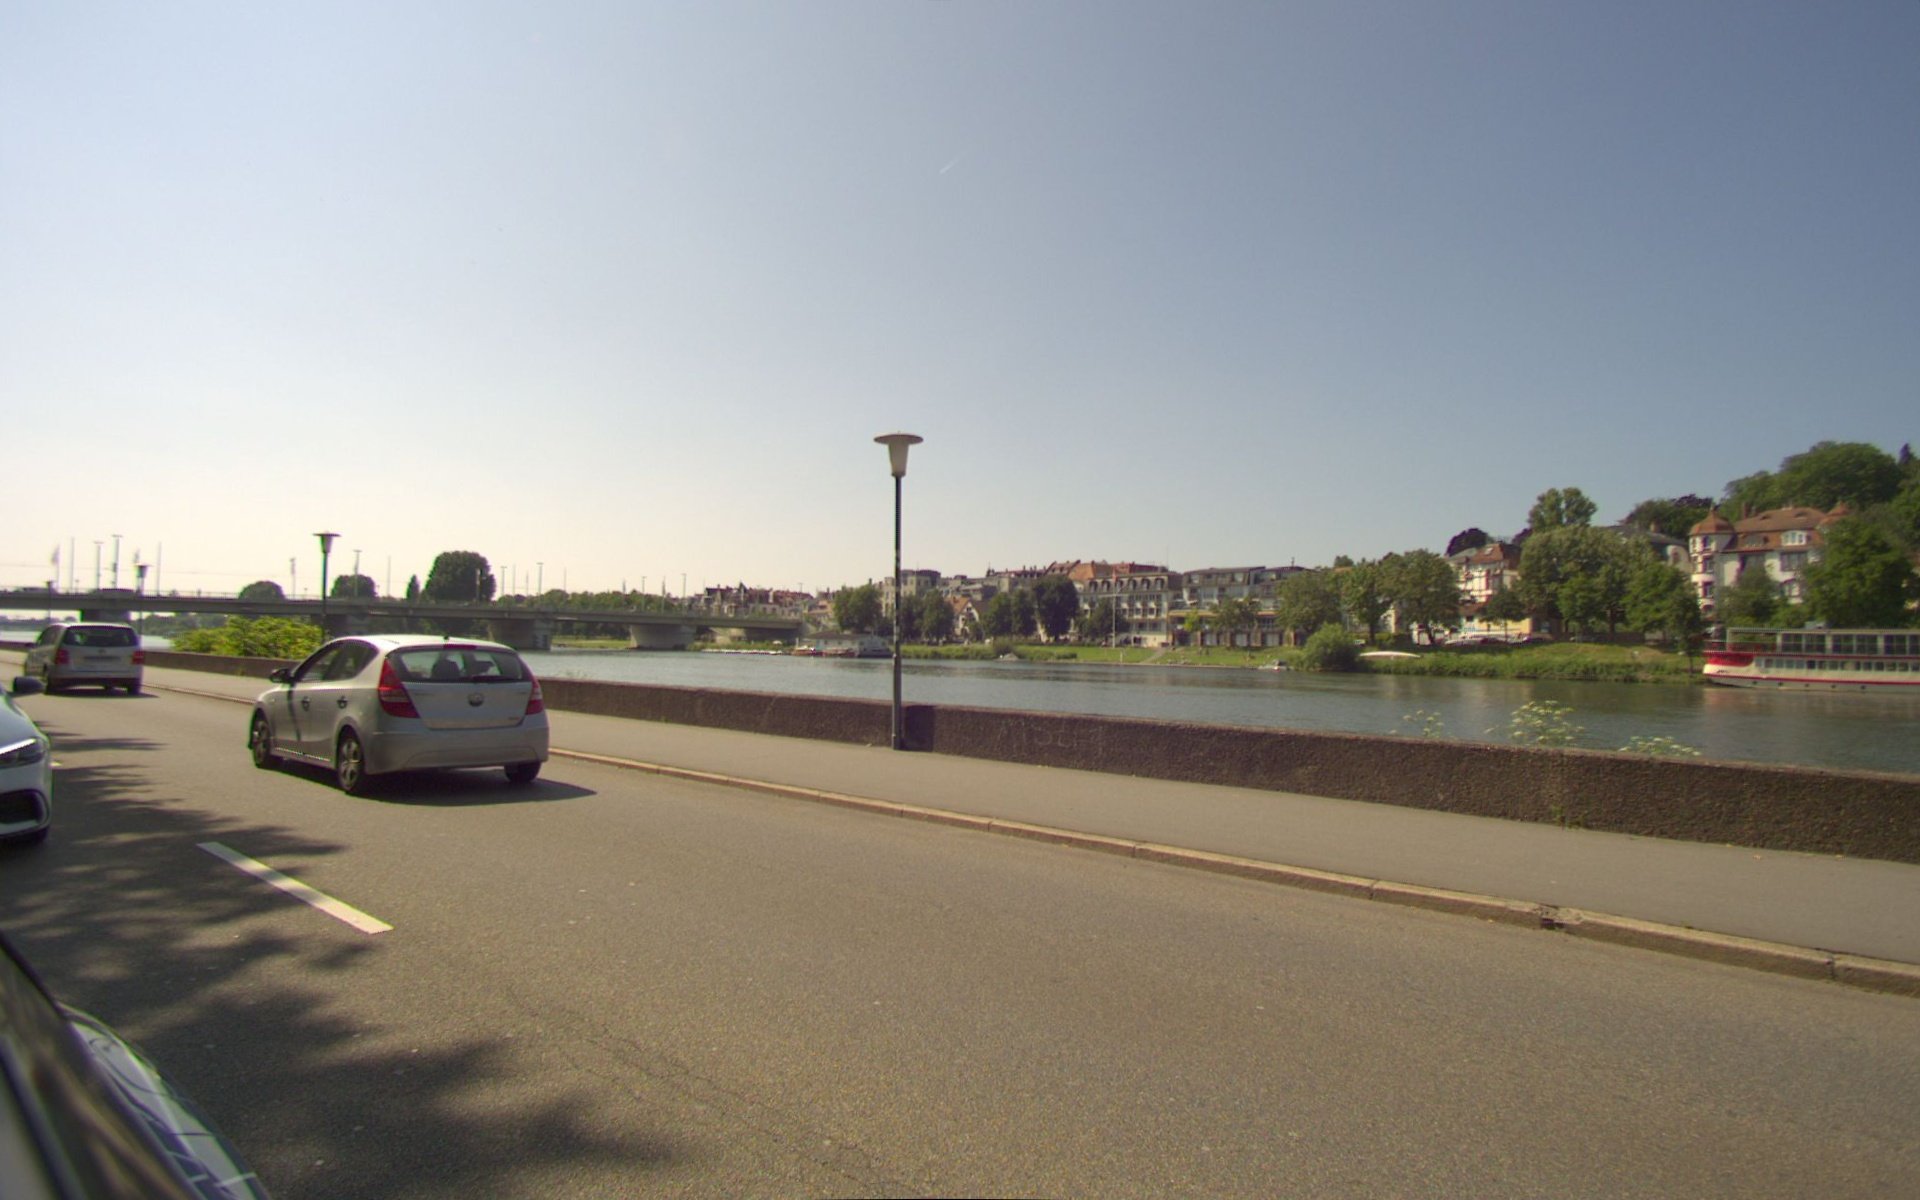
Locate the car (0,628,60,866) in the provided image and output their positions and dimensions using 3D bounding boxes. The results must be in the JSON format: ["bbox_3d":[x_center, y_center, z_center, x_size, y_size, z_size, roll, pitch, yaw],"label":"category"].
[{"bbox_3d":[-7.933,0.922,7.111,4.549,1.430,1.807,-2,-2,41],"label":"car"}]

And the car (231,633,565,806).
[{"bbox_3d":[-5.952,1.100,10.524,4.043,1.453,1.713,-2,-5,41],"label":"car"}]

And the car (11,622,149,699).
[{"bbox_3d":[-20.727,1.390,23.791,4.173,1.662,1.714,-1,-5,40],"label":"car"}]
